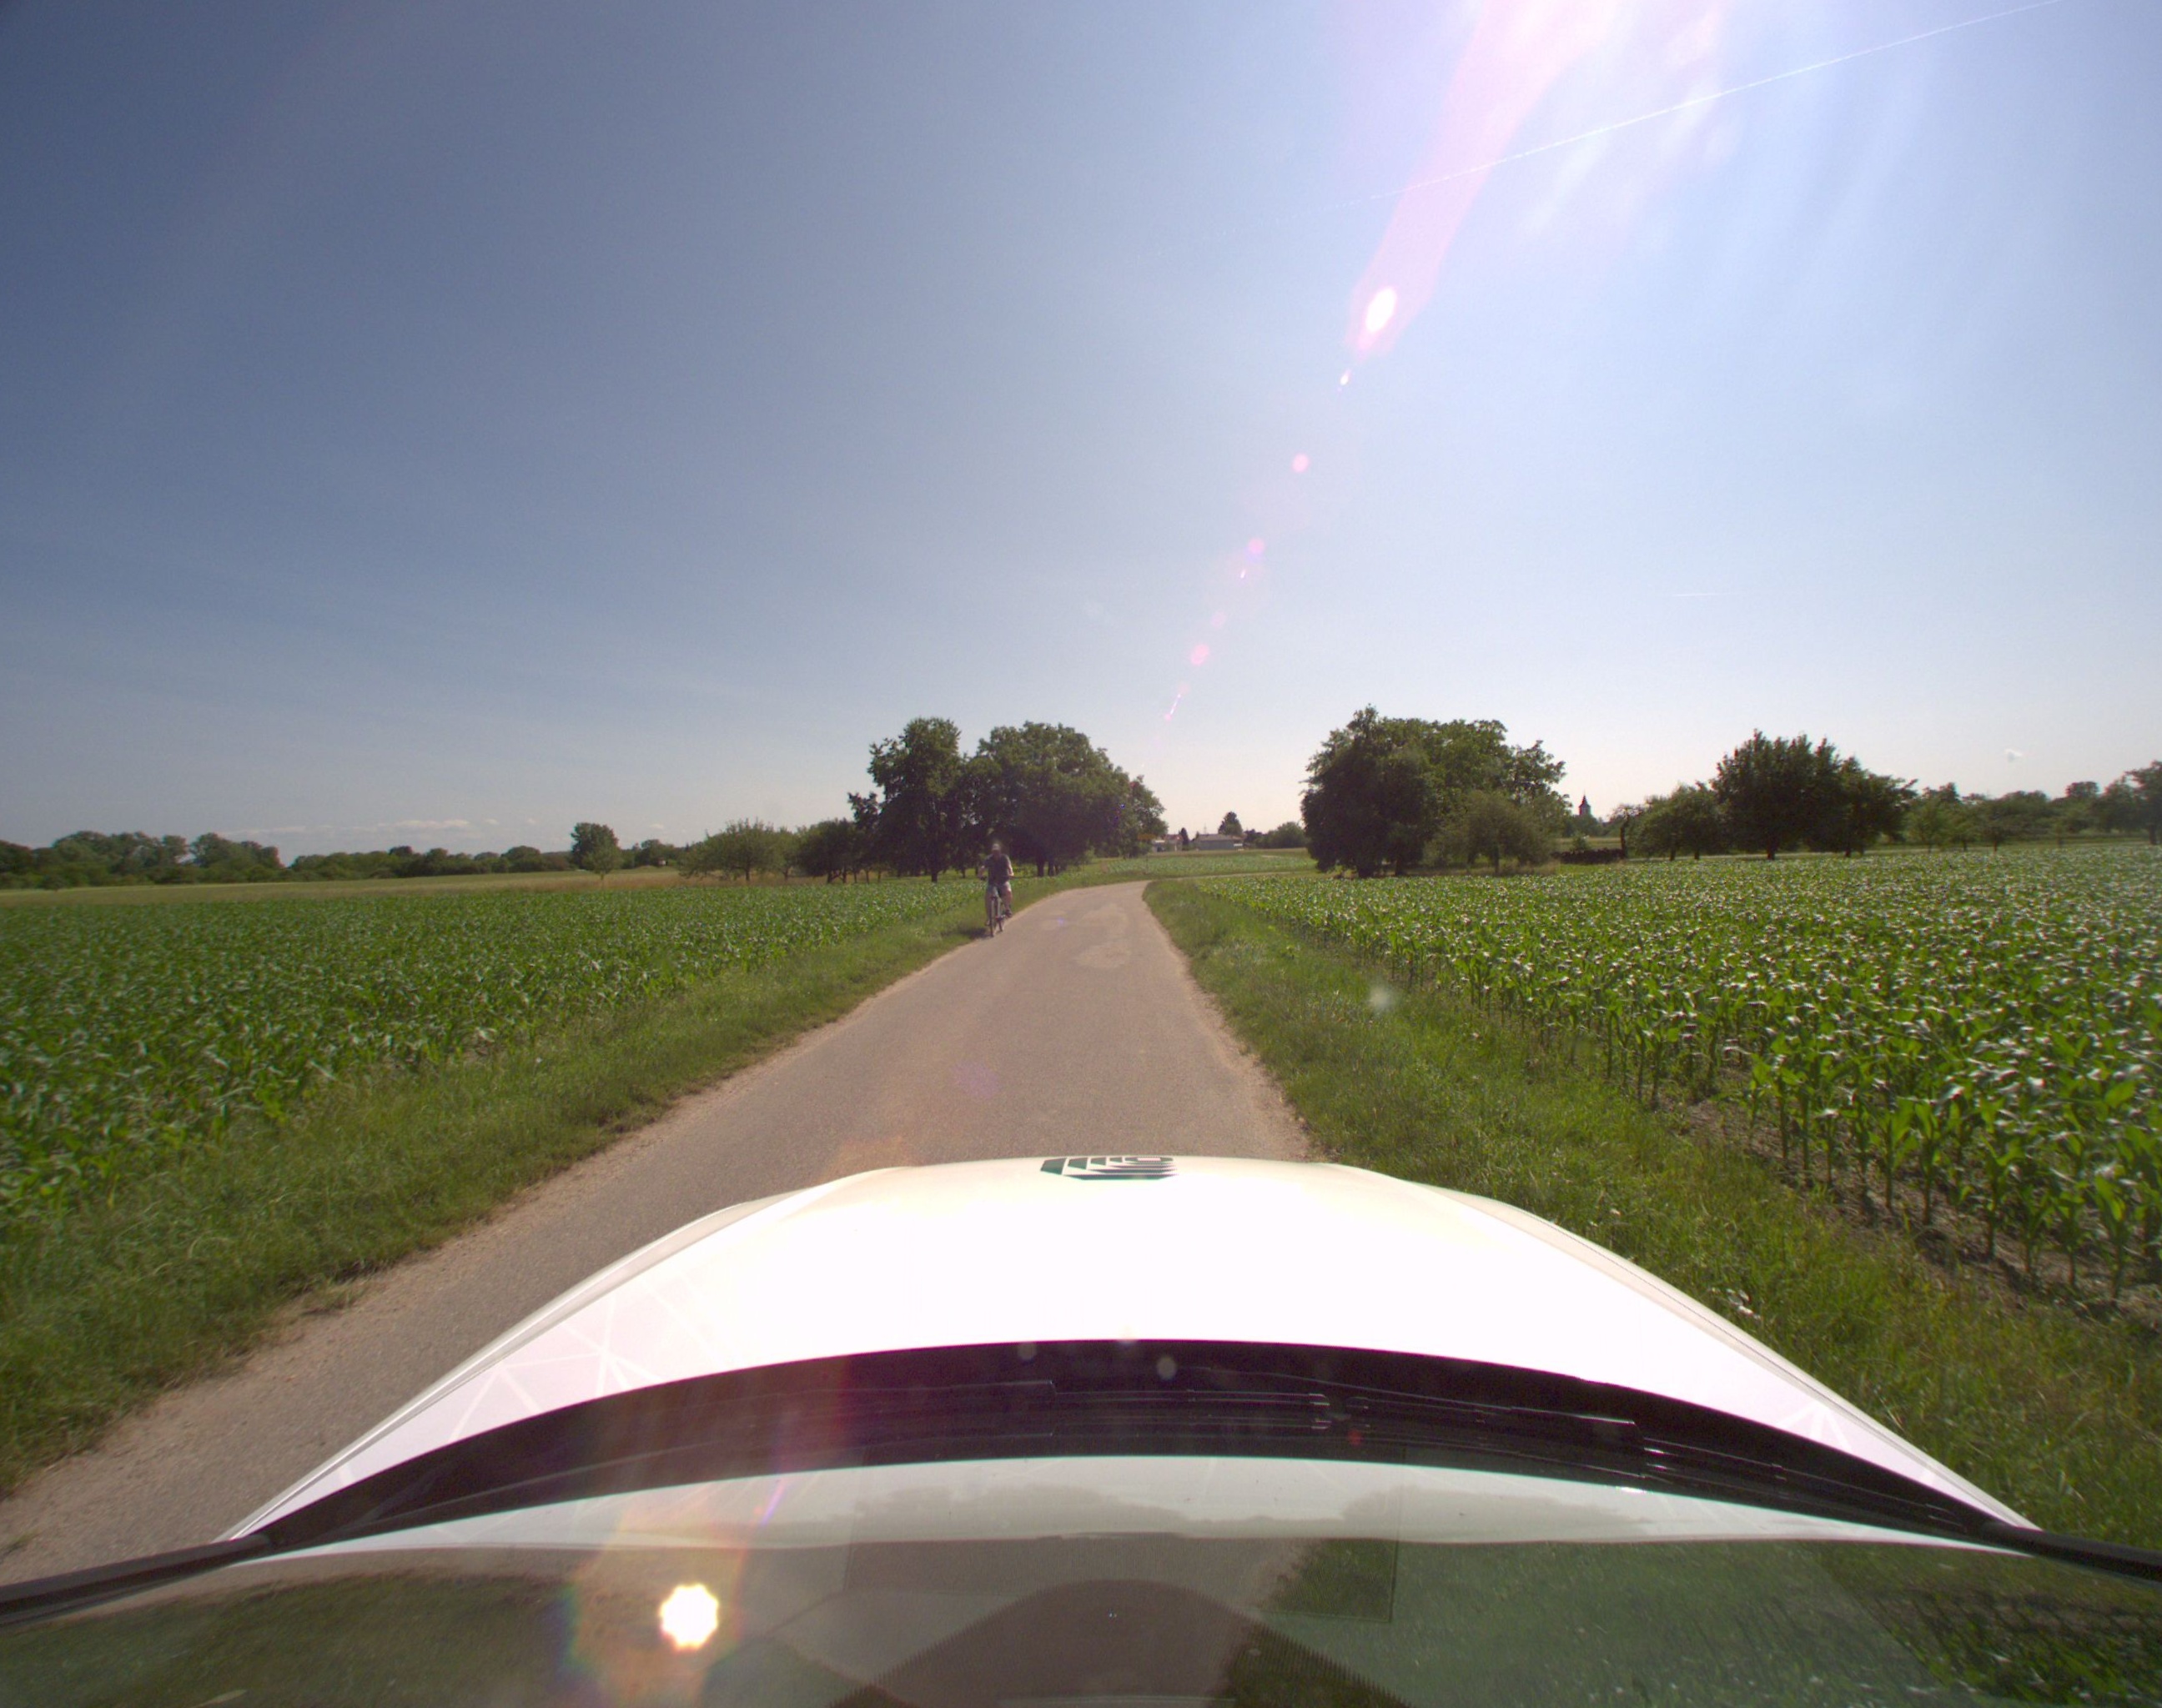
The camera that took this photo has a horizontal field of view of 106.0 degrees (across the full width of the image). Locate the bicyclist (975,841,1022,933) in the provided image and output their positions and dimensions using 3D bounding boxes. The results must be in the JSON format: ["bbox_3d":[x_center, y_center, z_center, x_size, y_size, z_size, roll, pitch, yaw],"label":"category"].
[{"bbox_3d":[-1.666,0.659,16.517,0.747,1.791,0.717,-4,0,2],"label":"bicyclist"}]

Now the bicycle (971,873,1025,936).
[{"bbox_3d":[-1.650,0.983,16.516,0.747,1.127,1.909,-4,0,2],"label":"bicycle"}]
